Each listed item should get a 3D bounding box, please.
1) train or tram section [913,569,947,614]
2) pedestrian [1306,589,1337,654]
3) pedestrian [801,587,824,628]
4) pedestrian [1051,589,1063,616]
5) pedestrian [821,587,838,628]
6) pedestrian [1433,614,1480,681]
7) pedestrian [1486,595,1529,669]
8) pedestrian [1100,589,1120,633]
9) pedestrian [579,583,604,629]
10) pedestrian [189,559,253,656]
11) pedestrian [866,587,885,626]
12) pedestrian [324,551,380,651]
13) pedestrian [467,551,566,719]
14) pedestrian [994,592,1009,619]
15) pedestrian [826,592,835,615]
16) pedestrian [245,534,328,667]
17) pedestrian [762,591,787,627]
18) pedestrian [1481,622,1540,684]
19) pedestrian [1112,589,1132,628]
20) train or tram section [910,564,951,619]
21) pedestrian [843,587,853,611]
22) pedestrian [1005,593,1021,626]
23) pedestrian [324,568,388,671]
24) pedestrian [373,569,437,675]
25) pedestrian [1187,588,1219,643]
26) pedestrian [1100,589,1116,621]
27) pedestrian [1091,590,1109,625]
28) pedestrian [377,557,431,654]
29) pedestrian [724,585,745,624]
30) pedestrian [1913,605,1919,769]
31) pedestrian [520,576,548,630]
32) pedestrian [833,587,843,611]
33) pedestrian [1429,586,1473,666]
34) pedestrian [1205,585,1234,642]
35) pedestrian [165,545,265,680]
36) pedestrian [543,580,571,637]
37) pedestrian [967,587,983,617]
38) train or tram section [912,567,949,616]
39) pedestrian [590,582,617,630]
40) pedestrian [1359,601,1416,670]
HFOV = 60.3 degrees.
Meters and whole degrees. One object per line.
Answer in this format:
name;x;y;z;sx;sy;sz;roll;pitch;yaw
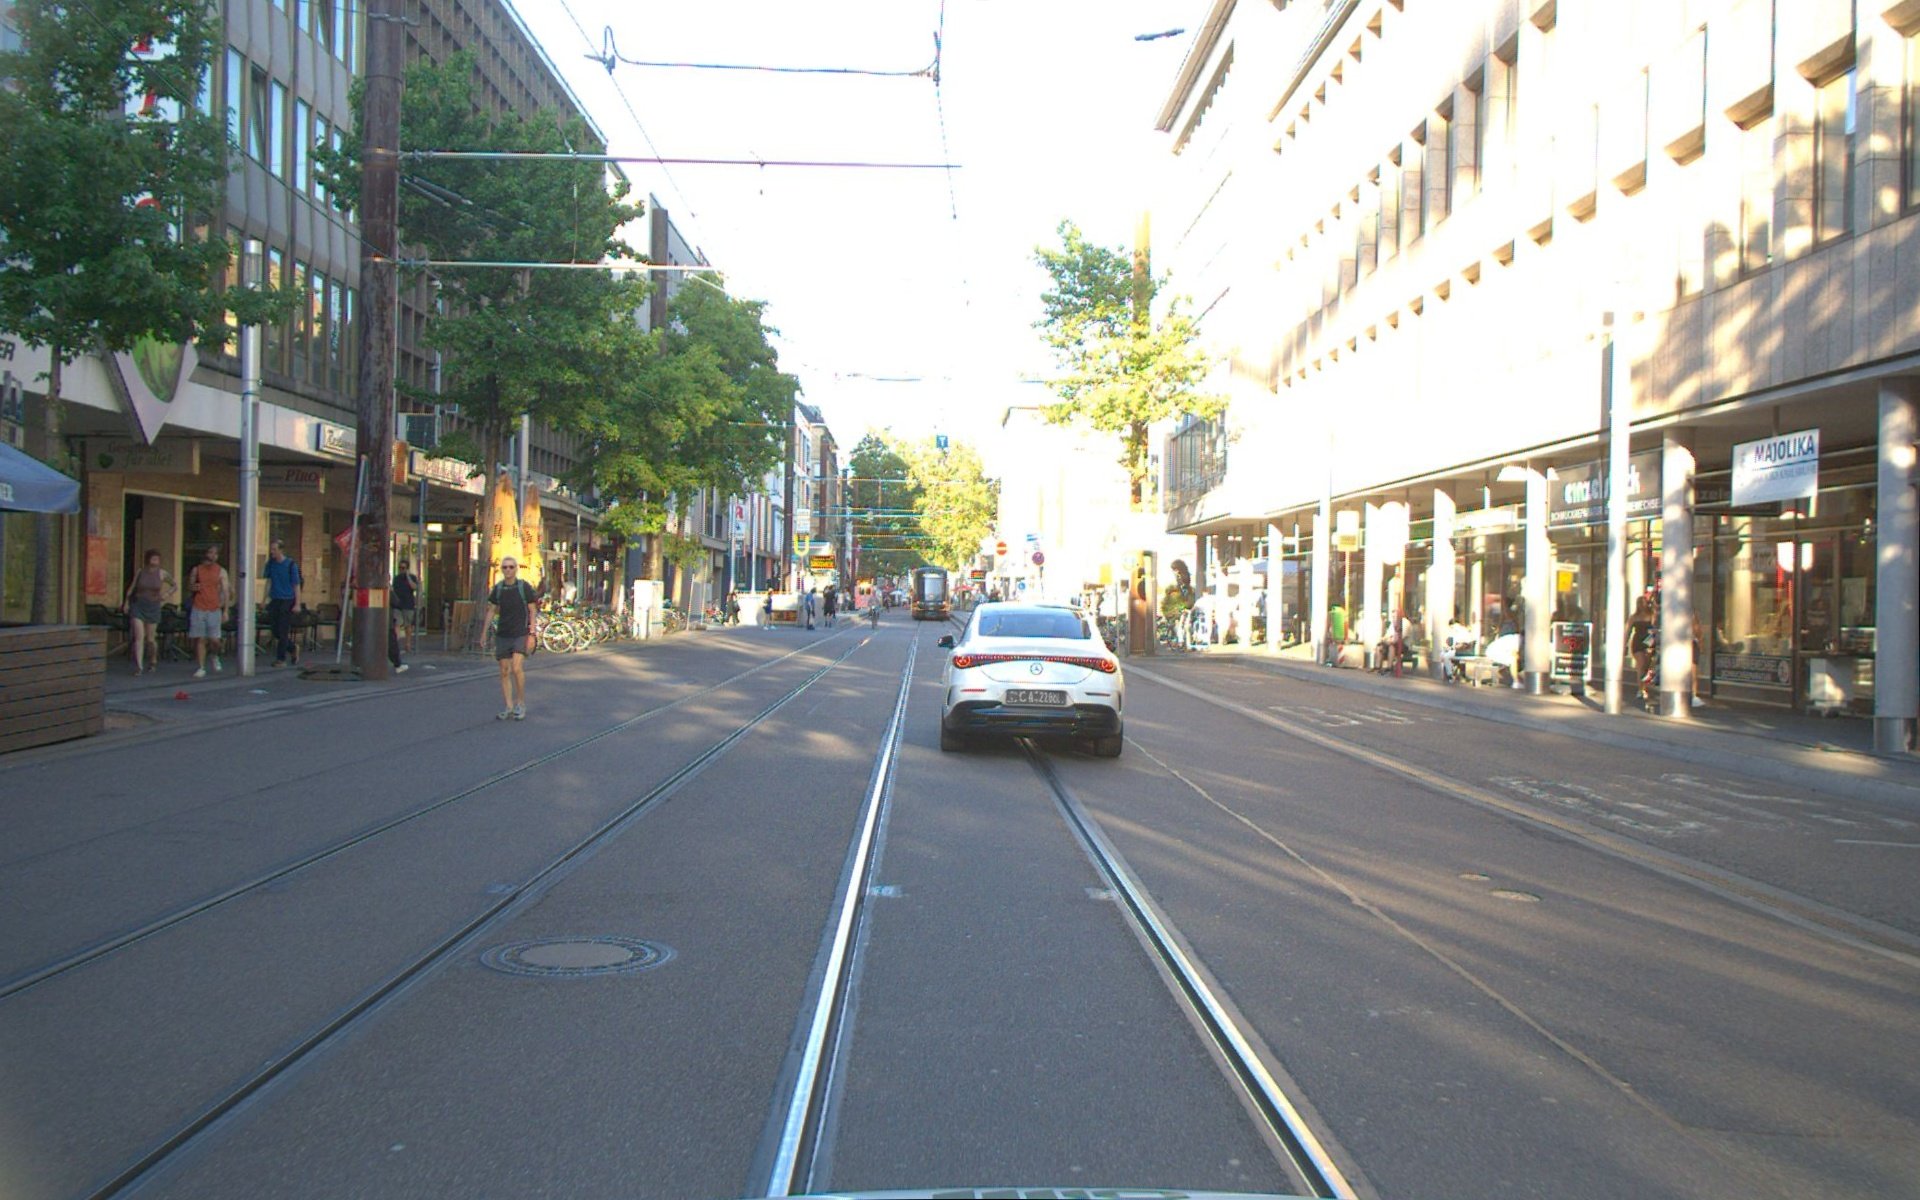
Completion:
train or tram section;-2.533;-0.670;138.614;2.640;3.578;11.140;1;0;-1
pedestrian;9.598;0.569;43.964;0.624;1.682;0.781;1;0;0
pedestrian;-6.368;0.326;71.307;0.886;1.728;0.848;1;0;-1
pedestrian;6.671;0.183;114.020;0.712;1.817;0.707;1;0;-2
pedestrian;-6.192;0.349;78.248;0.531;1.963;0.569;1;0;42
pedestrian;9.283;0.880;30.943;0.652;1.219;0.785;1;0;4
pedestrian;11.887;0.689;35.926;0.629;1.568;0.796;1;0;-1
pedestrian;6.378;0.462;70.375;0.733;1.817;0.766;-1;0;-2
pedestrian;-14.324;0.231;64.319;0.799;1.792;0.779;1;0;-3
pedestrian;-12.211;0.125;27.354;0.609;1.552;0.809;3;0;-1
pedestrian;-3.977;0.310;78.110;0.784;1.813;0.848;3;0;-2
pedestrian;-11.574;0.014;31.503;0.609;1.835;0.933;3;0;-1
pedestrian;-5.047;0.390;18.868;0.824;1.832;0.790;3;0;0
pedestrian;2.805;0.368;110.892;0.941;1.817;0.803;-1;0;-2
pedestrian;-9.371;0.258;119.790;0.647;1.627;0.573;1;0;-2
pedestrian;-10.395;0.004;25.578;0.785;1.956;1.070;3;0;-4
pedestrian;-7.927;0.384;70.779;0.936;1.522;0.944;1;0;-1
pedestrian;9.794;0.935;29.430;0.818;1.049;0.696;1;0;3
pedestrian;7.623;0.407;77.991;0.824;1.817;0.803;-1;0;-2
train or tram section;-2.066;-0.591;114.230;2.640;3.578;12.542;1;0;-1
pedestrian;-7.622;-0.043;112.972;0.647;1.627;0.573;1;0;-2
pedestrian;2.814;0.486;87.351;0.731;1.728;0.840;1;0;-4
pedestrian;-9.412;0.295;25.779;0.609;1.535;0.833;3;0;-1
pedestrian;-8.576;0.326;25.577;0.609;1.577;0.852;3;0;-1
pedestrian;8.061;0.507;54.864;0.881;1.775;0.689;-2;0;-2
pedestrian;8.116;0.264;90.638;0.801;1.714;0.803;-1;0;-2
pedestrian;6.943;0.366;82.079;0.820;1.691;0.785;1;0;1
pedestrian;-10.579;0.101;31.499;0.609;1.778;0.933;3;0;-1
pedestrian;-10.220;0.209;74.991;0.821;1.747;0.784;1;0;-3
pedestrian;8.882;0.719;14.462;0.667;1.600;0.632;3;0;-1
pedestrian;-12.627;0.098;49.034;0.700;1.574;0.684;1;0;-7
pedestrian;-8.324;-0.060;112.877;0.647;1.627;0.573;1;0;-2
pedestrian;11.110;0.584;37.423;0.701;1.771;0.835;1;0;-1
pedestrian;8.582;0.443;54.716;0.687;1.844;1.033;-2;0;-2
pedestrian;-10.198;0.169;22.667;0.832;1.771;0.835;3;0;19
pedestrian;-11.965;0.254;49.122;0.700;1.668;0.684;1;0;-7
pedestrian;0.894;0.141;101.647;0.941;1.817;0.803;-1;0;-2
train or tram section;-2.303;-0.634;126.778;2.640;3.578;12.542;1;0;-1
pedestrian;-13.454;0.225;62.407;0.718;1.792;0.808;1;0;-36
pedestrian;8.856;0.738;34.289;0.822;1.401;0.772;1;0;-24
